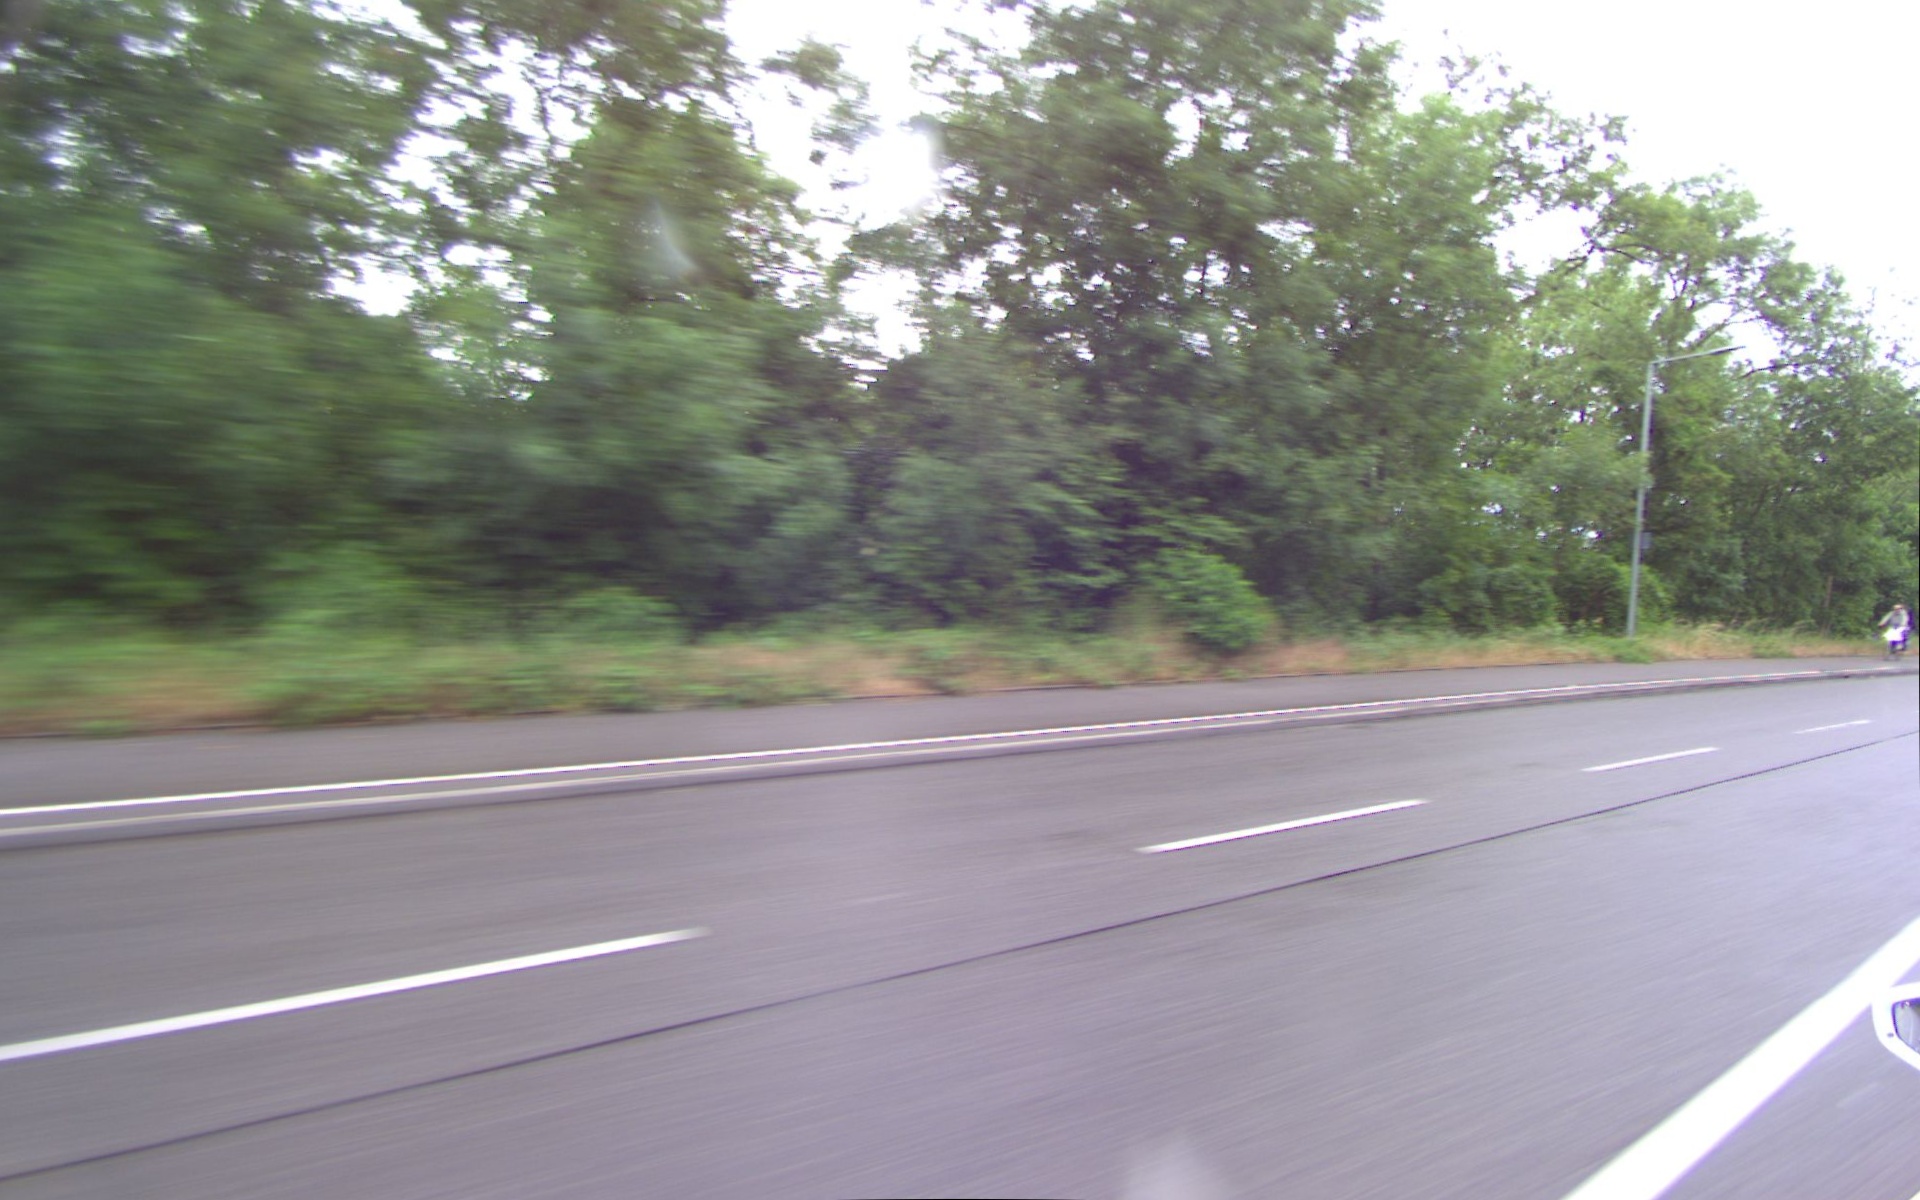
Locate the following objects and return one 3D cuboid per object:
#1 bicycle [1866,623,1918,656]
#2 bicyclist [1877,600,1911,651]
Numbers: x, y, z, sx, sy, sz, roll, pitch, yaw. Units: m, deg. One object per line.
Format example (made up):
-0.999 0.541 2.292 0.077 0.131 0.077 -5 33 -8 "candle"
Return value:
29.924 1.278 32.243 1.990 1.017 0.450 1 3 -26 "bicycle"
29.997 0.817 32.260 0.691 1.607 0.577 2 0 -25 "bicyclist"
